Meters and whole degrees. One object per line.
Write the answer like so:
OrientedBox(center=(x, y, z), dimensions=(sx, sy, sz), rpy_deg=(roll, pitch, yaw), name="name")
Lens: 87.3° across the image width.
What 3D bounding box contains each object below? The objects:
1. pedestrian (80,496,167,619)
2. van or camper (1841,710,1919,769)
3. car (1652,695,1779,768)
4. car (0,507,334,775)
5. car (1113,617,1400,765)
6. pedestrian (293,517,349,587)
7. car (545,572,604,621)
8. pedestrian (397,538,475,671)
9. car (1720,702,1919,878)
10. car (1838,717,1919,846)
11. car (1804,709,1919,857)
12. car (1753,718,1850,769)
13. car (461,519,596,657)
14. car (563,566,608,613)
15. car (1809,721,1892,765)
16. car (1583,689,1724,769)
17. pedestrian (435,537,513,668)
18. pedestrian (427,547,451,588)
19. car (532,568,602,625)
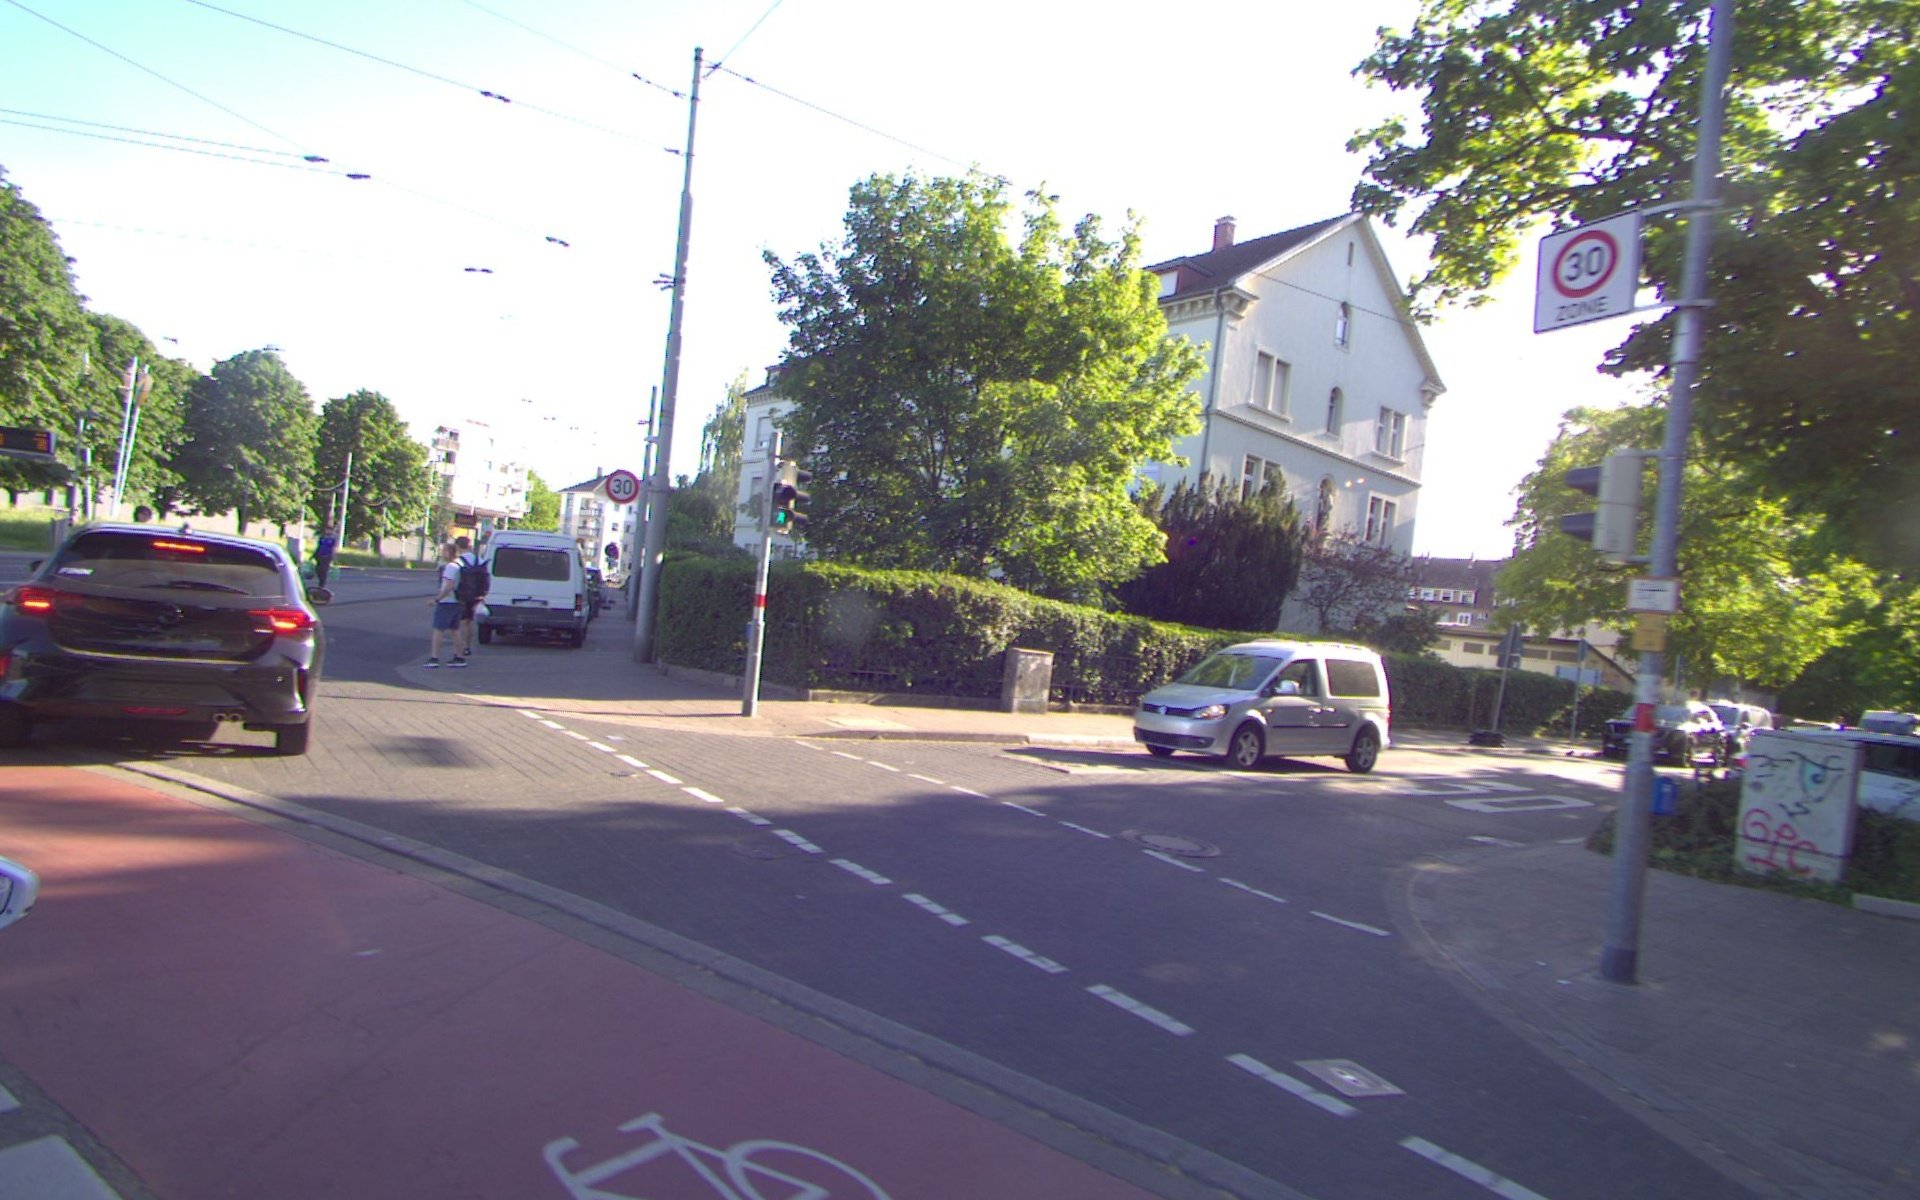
OrientedBox(center=(-12.418, -0.621, 14.942), dimensions=(0.690, 1.714, 0.725), rpy_deg=(7, 0, 36), name="pedestrian")
OrientedBox(center=(44.045, 6.644, 47.782), dimensions=(4.974, 2.366, 2.346), rpy_deg=(7, -1, -39), name="van or camper")
OrientedBox(center=(23.109, 4.040, 30.736), dimensions=(4.293, 1.838, 1.979), rpy_deg=(7, -1, -39), name="car")
OrientedBox(center=(-5.928, 0.180, 7.411), dimensions=(1.791, 1.459, 3.900), rpy_deg=(7, -1, -37), name="car")
OrientedBox(center=(4.419, 1.365, 14.743), dimensions=(4.152, 1.834, 1.790), rpy_deg=(7, -3, -36), name="car")
OrientedBox(center=(-17.867, -1.325, 28.149), dimensions=(0.947, 1.815, 0.992), rpy_deg=(6, 0, -18), name="pedestrian")
OrientedBox(center=(-14.019, -0.157, 36.554), dimensions=(1.782, 1.494, 3.920), rpy_deg=(7, -1, -22), name="car")
OrientedBox(center=(-7.531, 0.073, 14.455), dimensions=(0.696, 1.814, 0.609), rpy_deg=(6, 0, -44), name="pedestrian")
OrientedBox(center=(10.880, 2.201, 10.801), dimensions=(1.698, 1.600, 3.988), rpy_deg=(7, -1, -42), name="car")
OrientedBox(center=(14.495, 2.695, 13.484), dimensions=(1.704, 1.637, 3.827), rpy_deg=(7, -1, -41), name="car")
OrientedBox(center=(12.871, 2.435, 12.101), dimensions=(1.704, 1.637, 3.859), rpy_deg=(7, -1, -41), name="car")
OrientedBox(center=(31.929, 5.460, 38.144), dimensions=(3.968, 1.548, 1.979), rpy_deg=(7, -1, -39), name="car")
OrientedBox(center=(-8.770, -0.199, 20.814), dimensions=(2.067, 2.303, 4.290), rpy_deg=(7, -2, -20), name="car")
OrientedBox(center=(-17.804, -0.528, 47.947), dimensions=(1.780, 1.950, 3.923), rpy_deg=(6, -1, -20), name="car")
OrientedBox(center=(38.766, 6.245, 43.769), dimensions=(3.968, 1.548, 1.979), rpy_deg=(7, -1, -39), name="car")
OrientedBox(center=(18.839, 3.512, 27.281), dimensions=(3.968, 1.749, 1.979), rpy_deg=(7, -1, -39), name="car")
OrientedBox(center=(-7.391, 0.043, 15.339), dimensions=(0.692, 1.869, 0.700), rpy_deg=(6, 0, -4), name="pedestrian")
OrientedBox(center=(-24.470, -1.528, 47.267), dimensions=(0.671, 1.815, 0.992), rpy_deg=(6, 0, -18), name="pedestrian")
OrientedBox(center=(-12.301, -0.146, 31.489), dimensions=(1.782, 1.494, 3.920), rpy_deg=(7, -1, -22), name="car")
